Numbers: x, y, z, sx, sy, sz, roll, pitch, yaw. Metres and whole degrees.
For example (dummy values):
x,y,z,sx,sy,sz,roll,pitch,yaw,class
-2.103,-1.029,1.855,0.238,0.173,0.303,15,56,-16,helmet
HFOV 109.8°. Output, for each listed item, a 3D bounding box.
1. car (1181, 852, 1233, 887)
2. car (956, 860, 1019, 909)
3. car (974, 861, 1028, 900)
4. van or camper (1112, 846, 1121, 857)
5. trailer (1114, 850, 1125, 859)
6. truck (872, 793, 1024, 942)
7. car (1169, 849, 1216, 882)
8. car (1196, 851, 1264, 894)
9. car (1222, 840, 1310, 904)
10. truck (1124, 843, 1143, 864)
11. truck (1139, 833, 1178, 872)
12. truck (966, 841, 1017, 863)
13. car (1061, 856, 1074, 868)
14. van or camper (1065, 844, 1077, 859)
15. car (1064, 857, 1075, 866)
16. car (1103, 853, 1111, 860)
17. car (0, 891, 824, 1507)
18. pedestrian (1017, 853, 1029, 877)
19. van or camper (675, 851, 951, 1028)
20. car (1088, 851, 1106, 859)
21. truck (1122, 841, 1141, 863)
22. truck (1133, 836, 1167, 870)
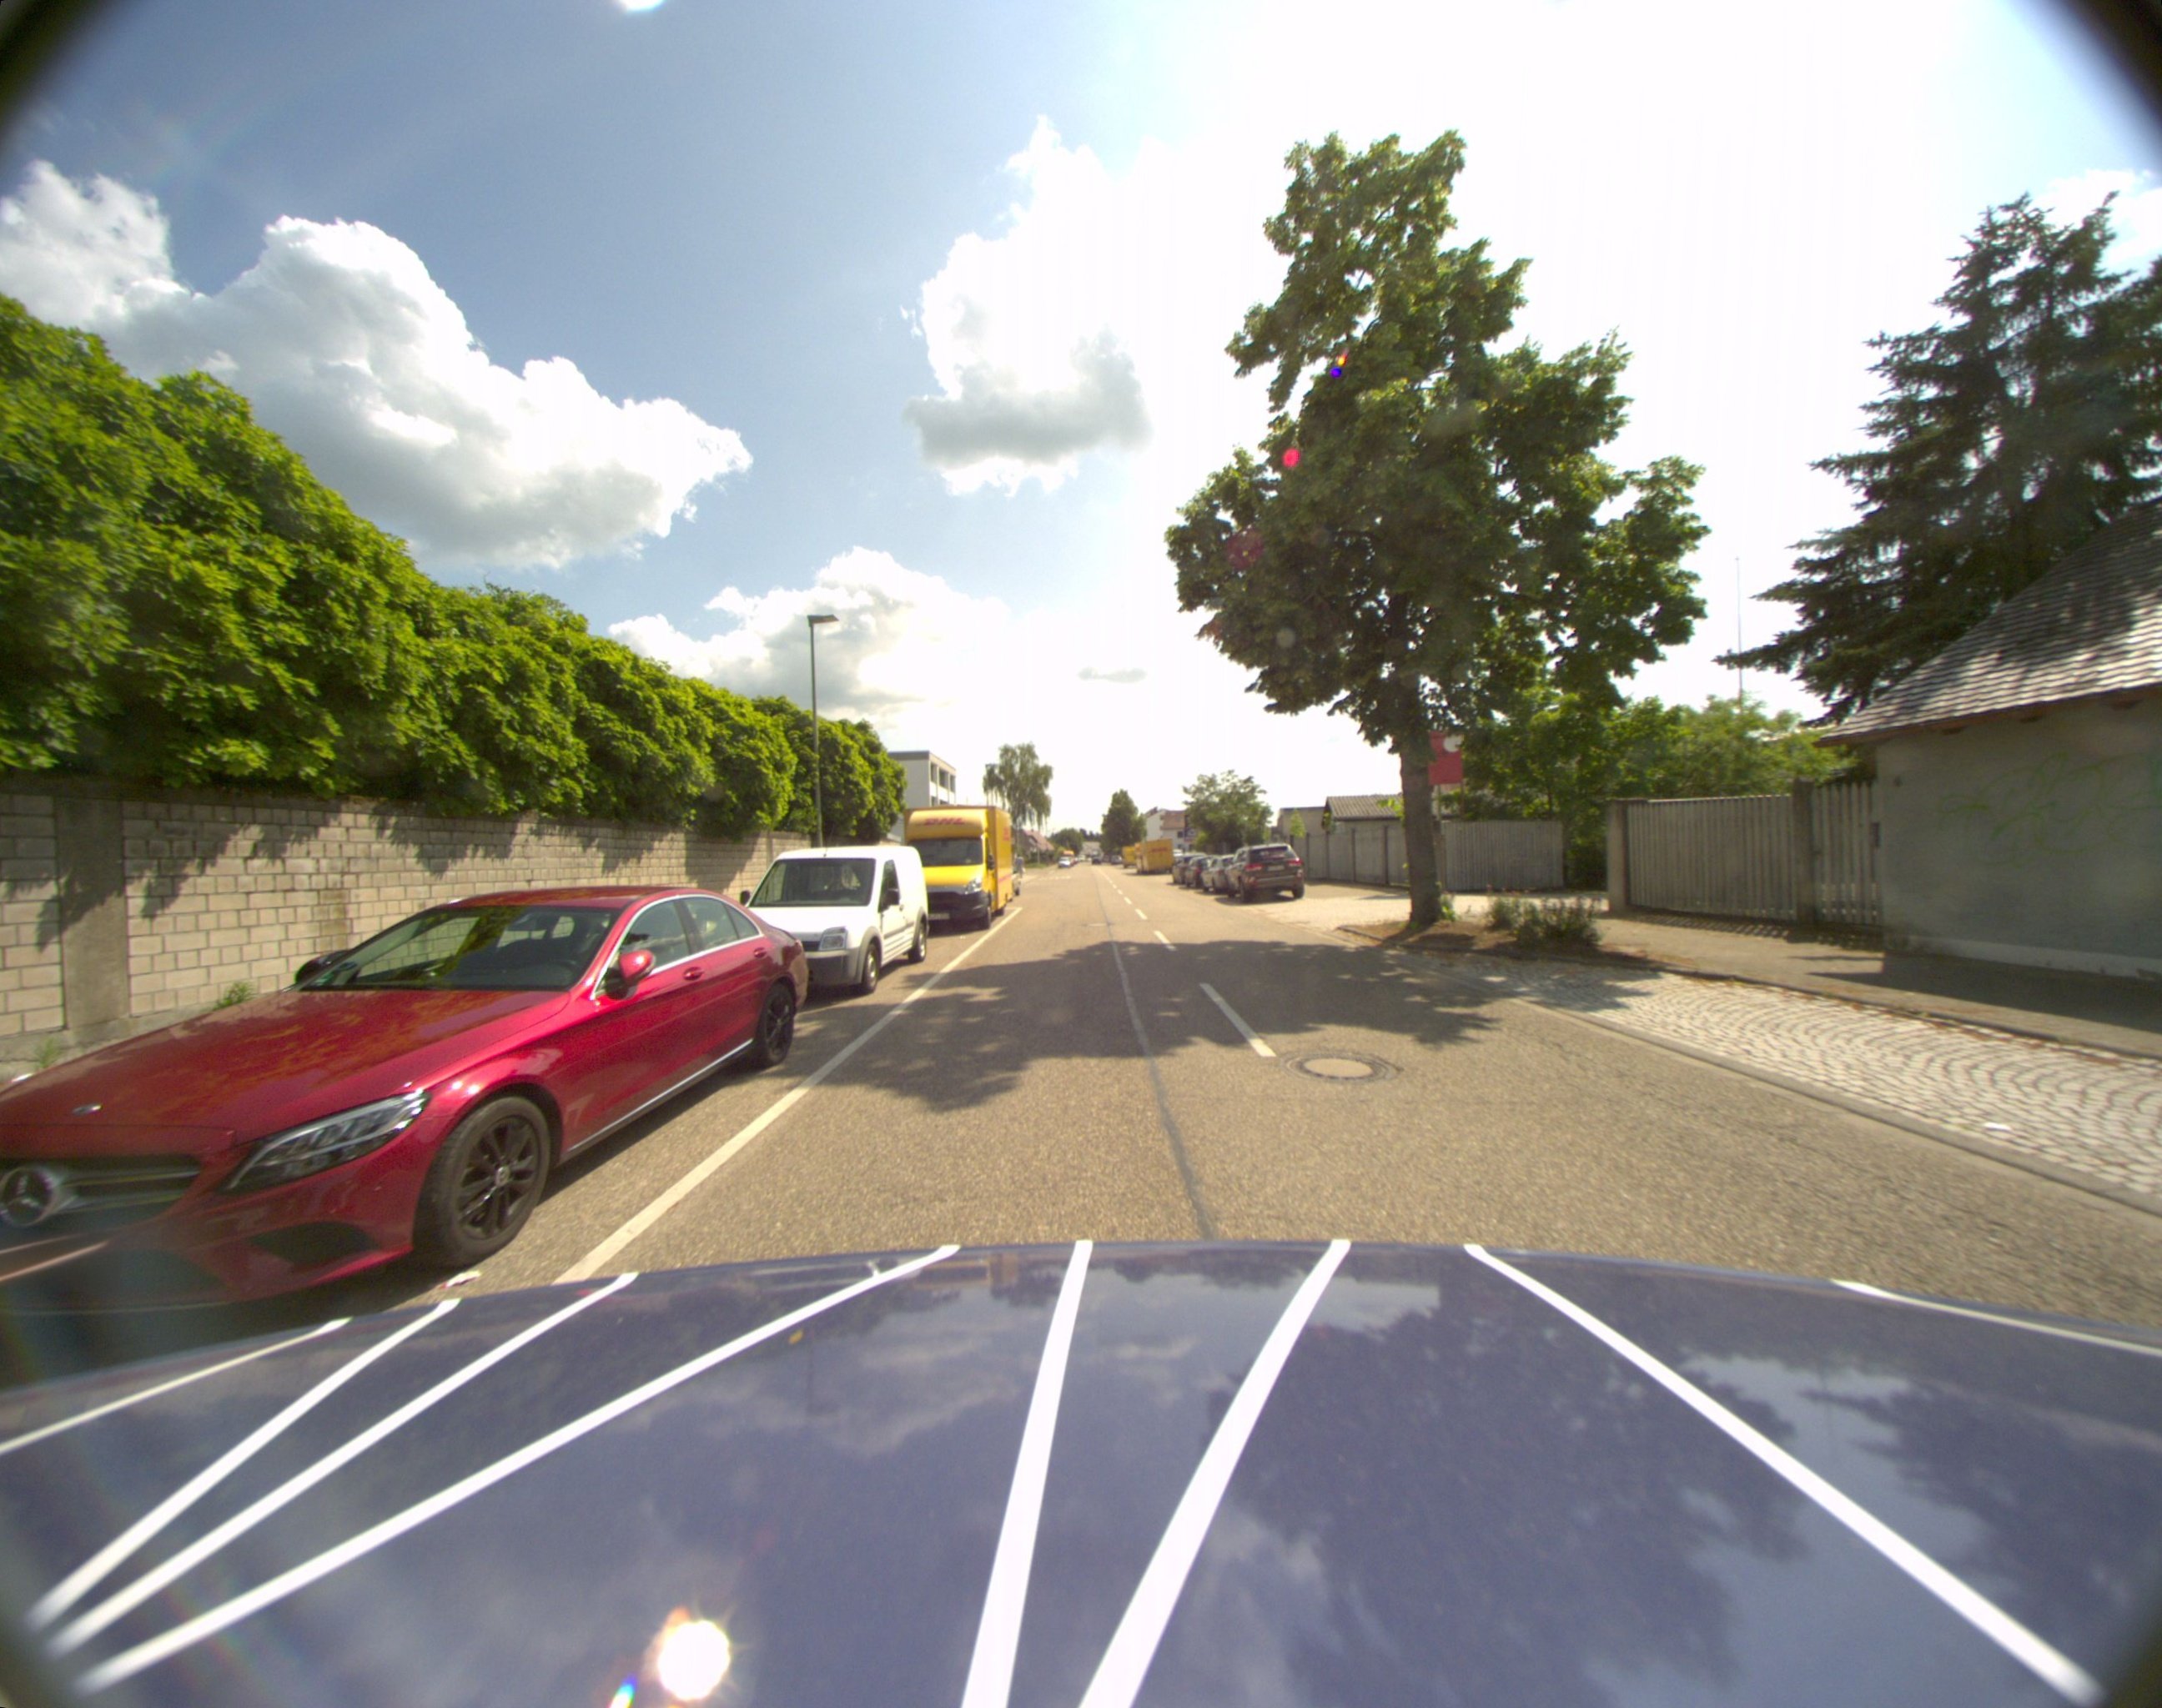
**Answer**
x,y,z,sx,sy,sz,roll,pitch,yaw,class
5.968,0.697,36.420,1.632,1.440,4.026,-6,0,-1,car
-3.199,1.003,26.716,1.666,1.433,4.282,-3,0,-1,car
-3.283,1.070,32.035,1.656,1.379,4.422,-3,0,1,car
8.204,-0.577,174.120,1.998,2.303,5.934,-2,0,3,van or camper
6.797,0.081,133.823,1.766,1.282,4.508,-5,0,1,trailer
-2.981,0.263,19.072,2.481,2.923,7.187,-3,0,-1,truck
6.026,0.593,41.500,1.729,1.595,4.413,-5,0,-1,car
5.950,0.696,30.782,1.737,1.509,4.742,-4,0,0,car
5.993,0.512,25.223,1.923,1.811,4.786,-3,1,3,car
6.572,-0.034,95.346,1.998,2.399,6.065,-3,0,2,truck
6.214,-0.135,61.668,2.322,2.846,7.104,-4,0,0,truck
-11.656,-0.237,99.309,6.067,2.562,2.561,-2,0,-26,truck
-1.901,1.126,111.066,1.614,1.571,4.000,-3,0,2,car
-1.863,-0.395,135.348,1.999,2.648,5.768,-2,0,-1,van or camper
-1.842,1.252,122.479,1.673,1.327,4.438,-2,0,0,car
6.858,0.648,200.783,1.814,1.795,4.491,-5,0,0,car
-3.219,1.097,4.489,1.686,1.434,4.766,-2,0,1,car
-4.287,0.806,56.111,0.717,1.687,0.522,4,1,-4,pedestrian
-3.306,0.898,10.817,1.763,1.795,5.587,-2,0,1,van or camper
3.009,0.176,141.537,2.001,1.386,4.587,-3,0,-16,car
6.814,-0.277,102.373,2.226,2.840,7.070,-3,0,2,truck
6.190,-0.041,68.815,2.275,2.837,7.174,-3,0,0,truck
